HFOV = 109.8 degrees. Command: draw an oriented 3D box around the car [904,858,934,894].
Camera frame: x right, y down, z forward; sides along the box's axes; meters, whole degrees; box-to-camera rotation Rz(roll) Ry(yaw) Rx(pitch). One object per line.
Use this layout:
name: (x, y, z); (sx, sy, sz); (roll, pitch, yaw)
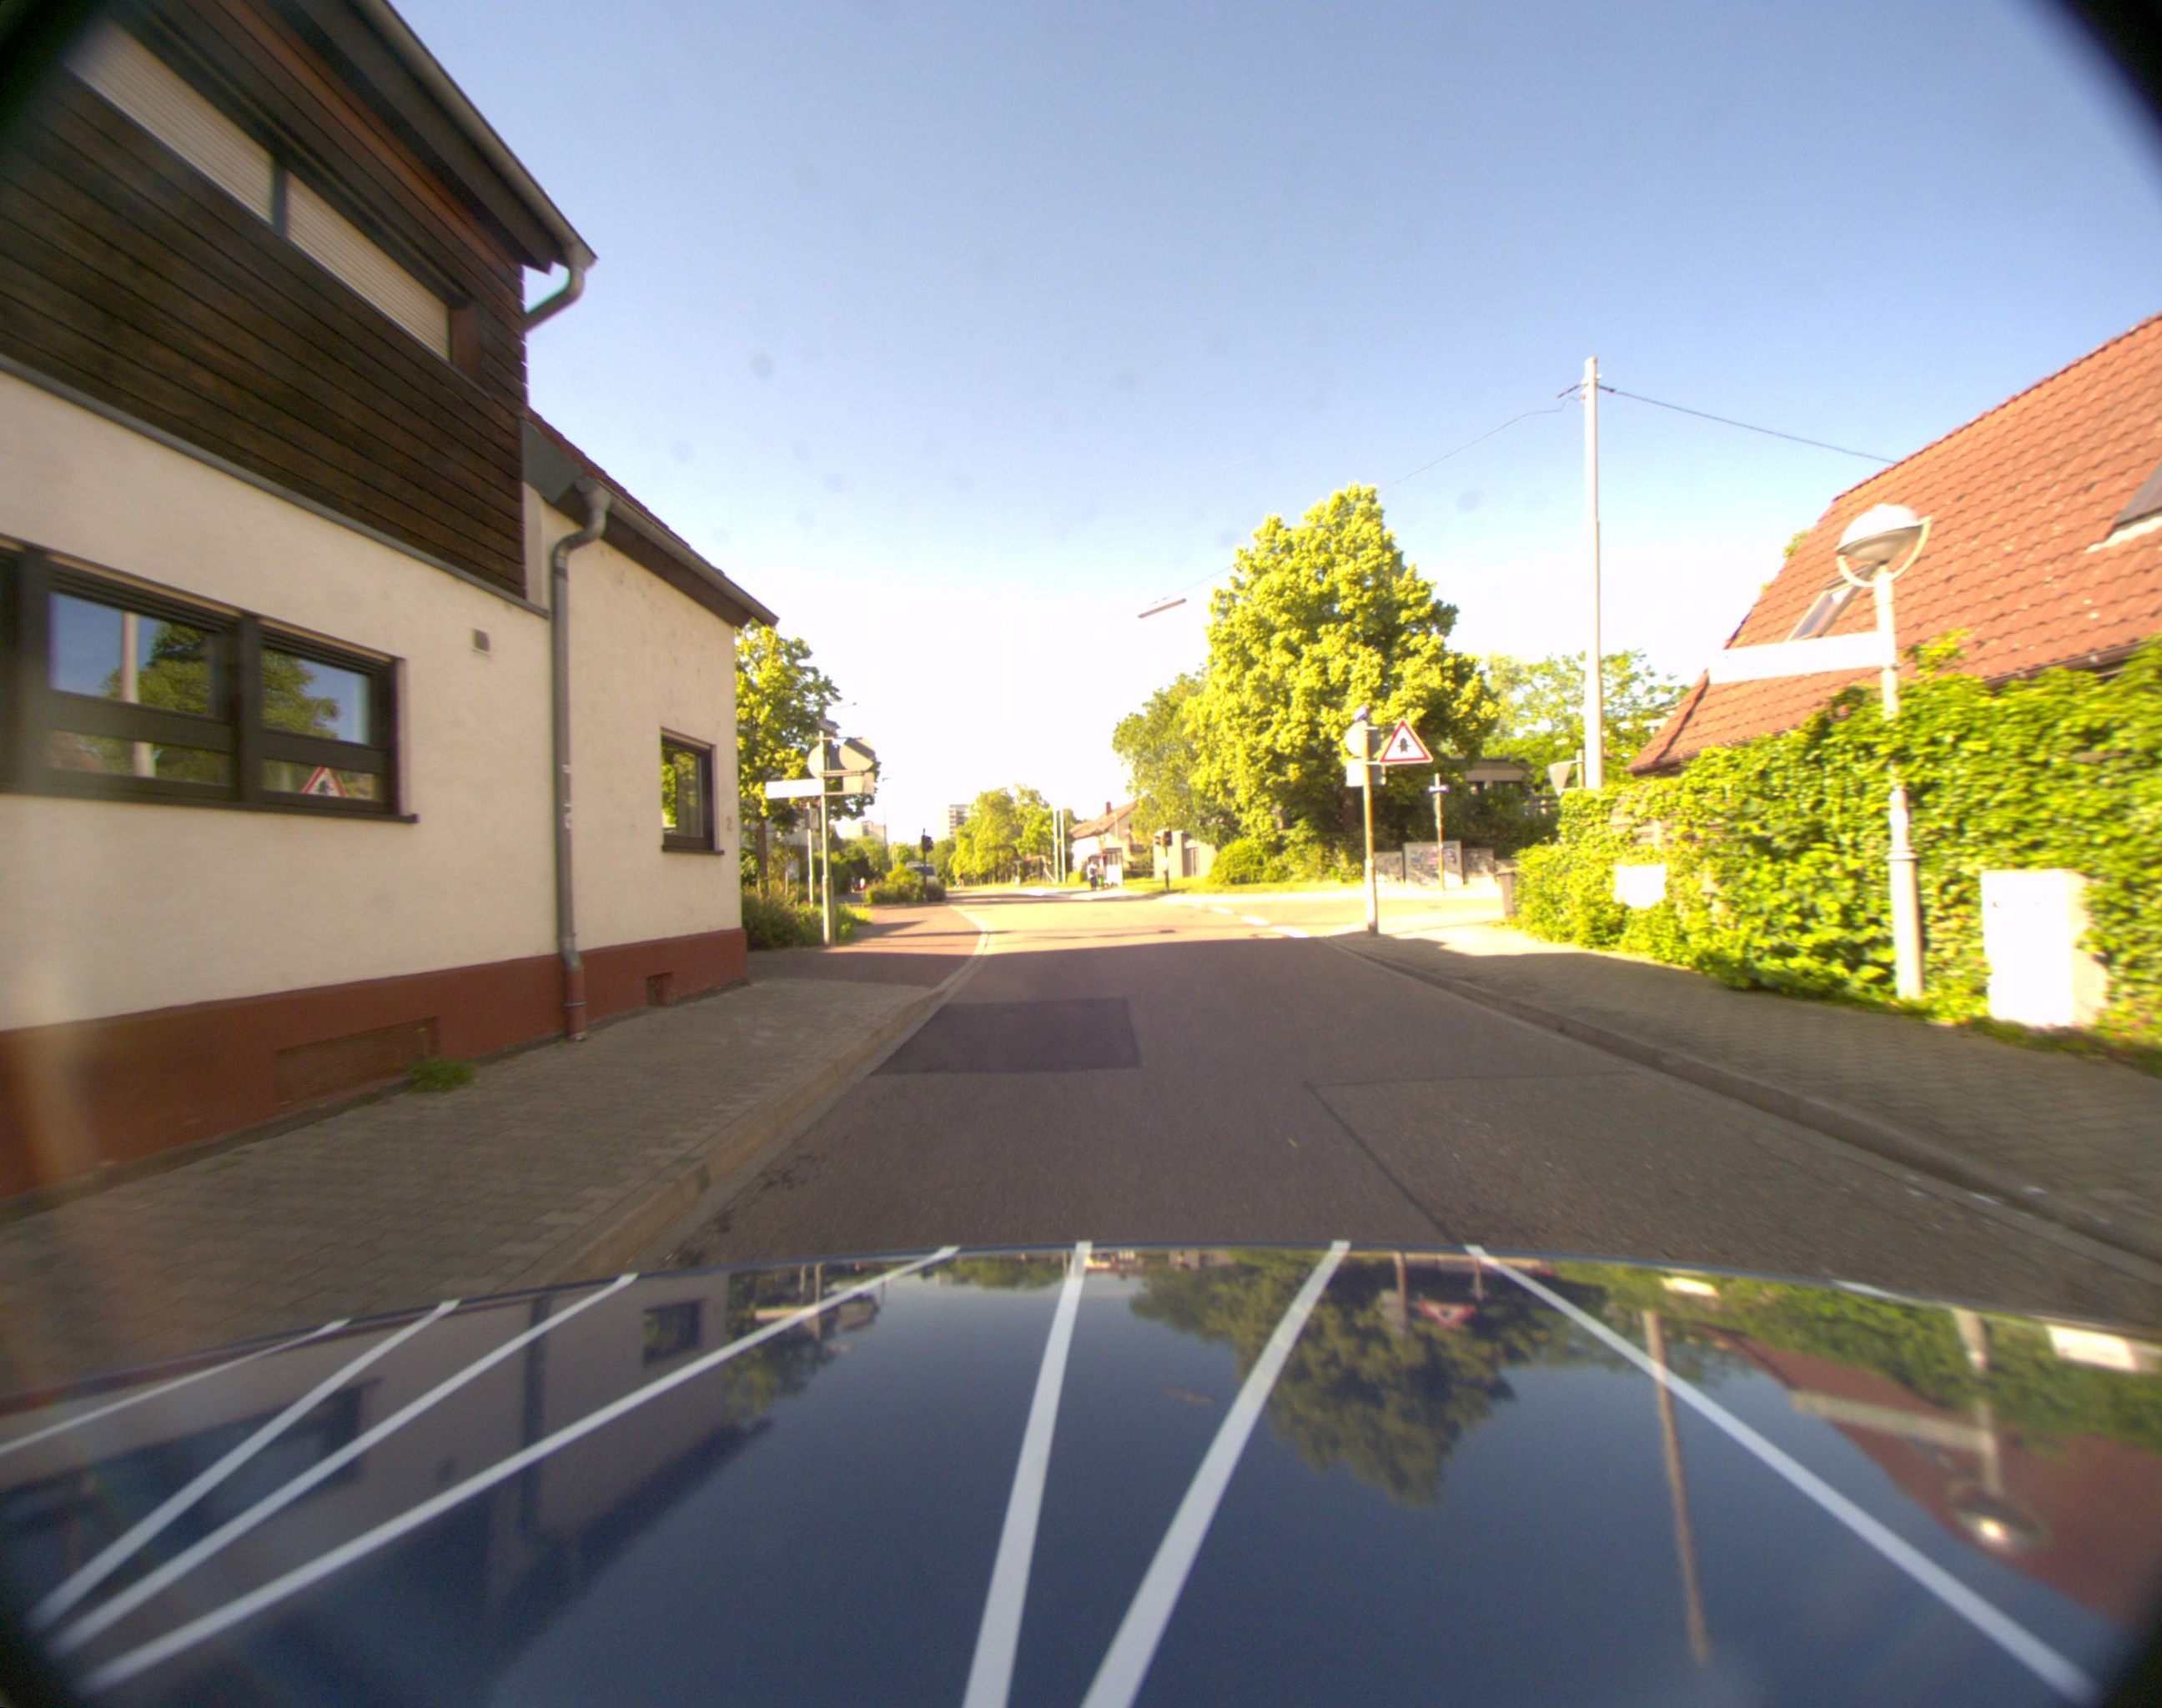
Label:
car: (-13.035, 1.769, 60.813); (1.964, 2.628, 5.217); (-2, -1, -15)

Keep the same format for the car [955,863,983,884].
car: (-11.012, 1.881, 74.545); (1.968, 1.908, 4.572); (-2, -1, -16)

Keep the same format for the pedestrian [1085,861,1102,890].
pedestrian: (0.766, 1.344, 48.014); (0.716, 1.792, 0.772); (-3, 1, 28)

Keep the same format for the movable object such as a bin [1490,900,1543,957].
movable object such as a bin: (7.474, 1.266, 13.046); (0.557, 0.919, 0.626); (-2, -1, 7)

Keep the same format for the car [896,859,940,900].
car: (-8.776, 1.344, 41.225); (2.000, 2.066, 4.575); (-2, -1, -9)
